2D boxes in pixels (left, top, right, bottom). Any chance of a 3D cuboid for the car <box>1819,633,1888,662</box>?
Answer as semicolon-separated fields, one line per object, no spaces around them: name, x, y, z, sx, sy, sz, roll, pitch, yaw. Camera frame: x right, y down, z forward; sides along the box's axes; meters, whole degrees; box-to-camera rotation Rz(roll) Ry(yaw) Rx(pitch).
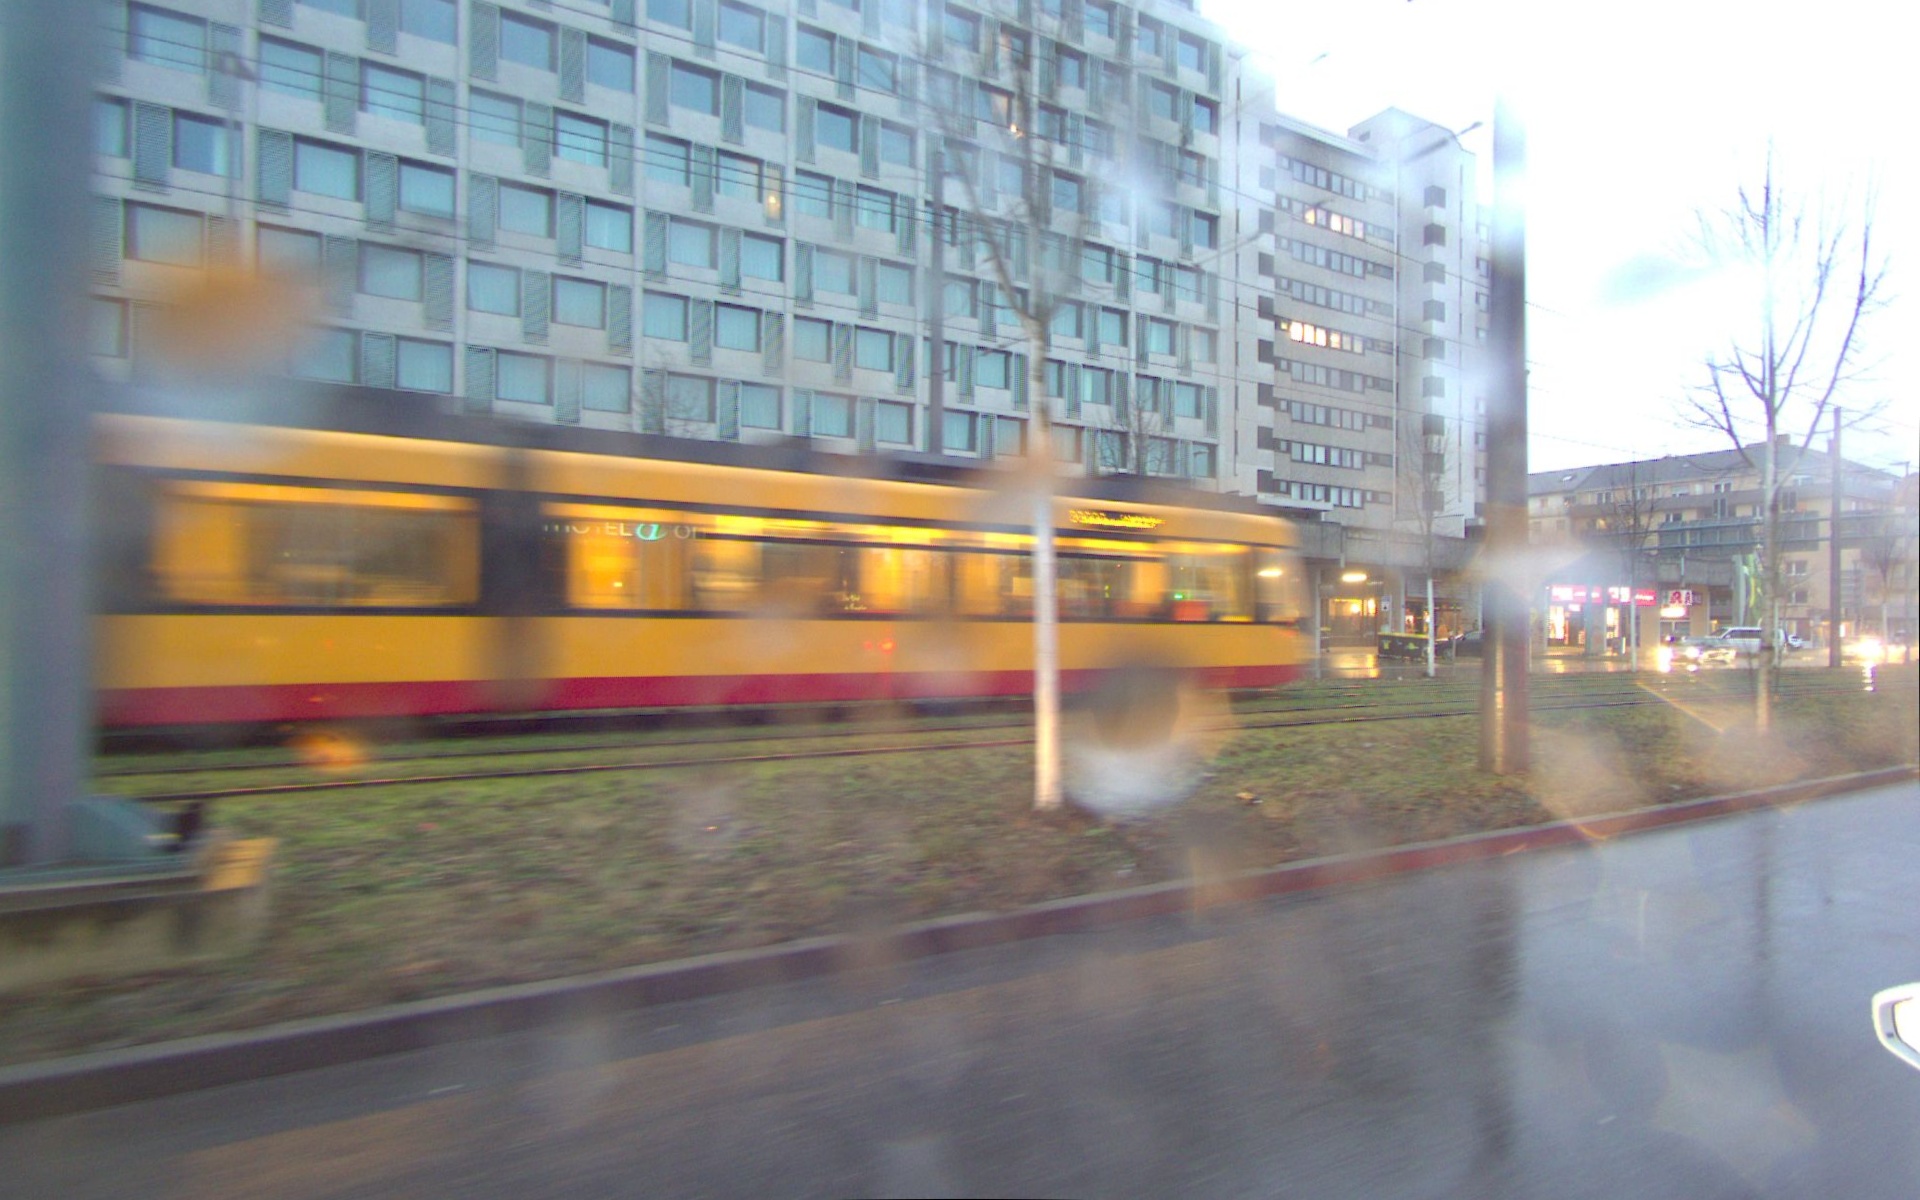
car;47.204;2.500;53.057;3.668;1.450;1.884;1;-1;-34

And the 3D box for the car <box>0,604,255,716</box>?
car;-13.228;0.827;14.756;1.973;1.516;4.422;0;-1;44

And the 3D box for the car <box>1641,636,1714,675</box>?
car;37.118;2.849;51.939;3.881;1.910;1.714;1;-1;-31

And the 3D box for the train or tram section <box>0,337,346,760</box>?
train or tram section;-12.875;-0.507;7.311;14.146;3.533;2.944;1;-1;-30

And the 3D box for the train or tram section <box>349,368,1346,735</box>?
train or tram section;-0.430;-0.312;14.447;14.095;3.533;2.944;1;-1;-30

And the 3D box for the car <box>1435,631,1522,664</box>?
car;27.025;2.443;52.487;3.925;1.405;1.935;3;1;26

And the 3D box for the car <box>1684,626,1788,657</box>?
car;51.477;2.720;66.724;5.059;1.937;2.001;0;-1;16
